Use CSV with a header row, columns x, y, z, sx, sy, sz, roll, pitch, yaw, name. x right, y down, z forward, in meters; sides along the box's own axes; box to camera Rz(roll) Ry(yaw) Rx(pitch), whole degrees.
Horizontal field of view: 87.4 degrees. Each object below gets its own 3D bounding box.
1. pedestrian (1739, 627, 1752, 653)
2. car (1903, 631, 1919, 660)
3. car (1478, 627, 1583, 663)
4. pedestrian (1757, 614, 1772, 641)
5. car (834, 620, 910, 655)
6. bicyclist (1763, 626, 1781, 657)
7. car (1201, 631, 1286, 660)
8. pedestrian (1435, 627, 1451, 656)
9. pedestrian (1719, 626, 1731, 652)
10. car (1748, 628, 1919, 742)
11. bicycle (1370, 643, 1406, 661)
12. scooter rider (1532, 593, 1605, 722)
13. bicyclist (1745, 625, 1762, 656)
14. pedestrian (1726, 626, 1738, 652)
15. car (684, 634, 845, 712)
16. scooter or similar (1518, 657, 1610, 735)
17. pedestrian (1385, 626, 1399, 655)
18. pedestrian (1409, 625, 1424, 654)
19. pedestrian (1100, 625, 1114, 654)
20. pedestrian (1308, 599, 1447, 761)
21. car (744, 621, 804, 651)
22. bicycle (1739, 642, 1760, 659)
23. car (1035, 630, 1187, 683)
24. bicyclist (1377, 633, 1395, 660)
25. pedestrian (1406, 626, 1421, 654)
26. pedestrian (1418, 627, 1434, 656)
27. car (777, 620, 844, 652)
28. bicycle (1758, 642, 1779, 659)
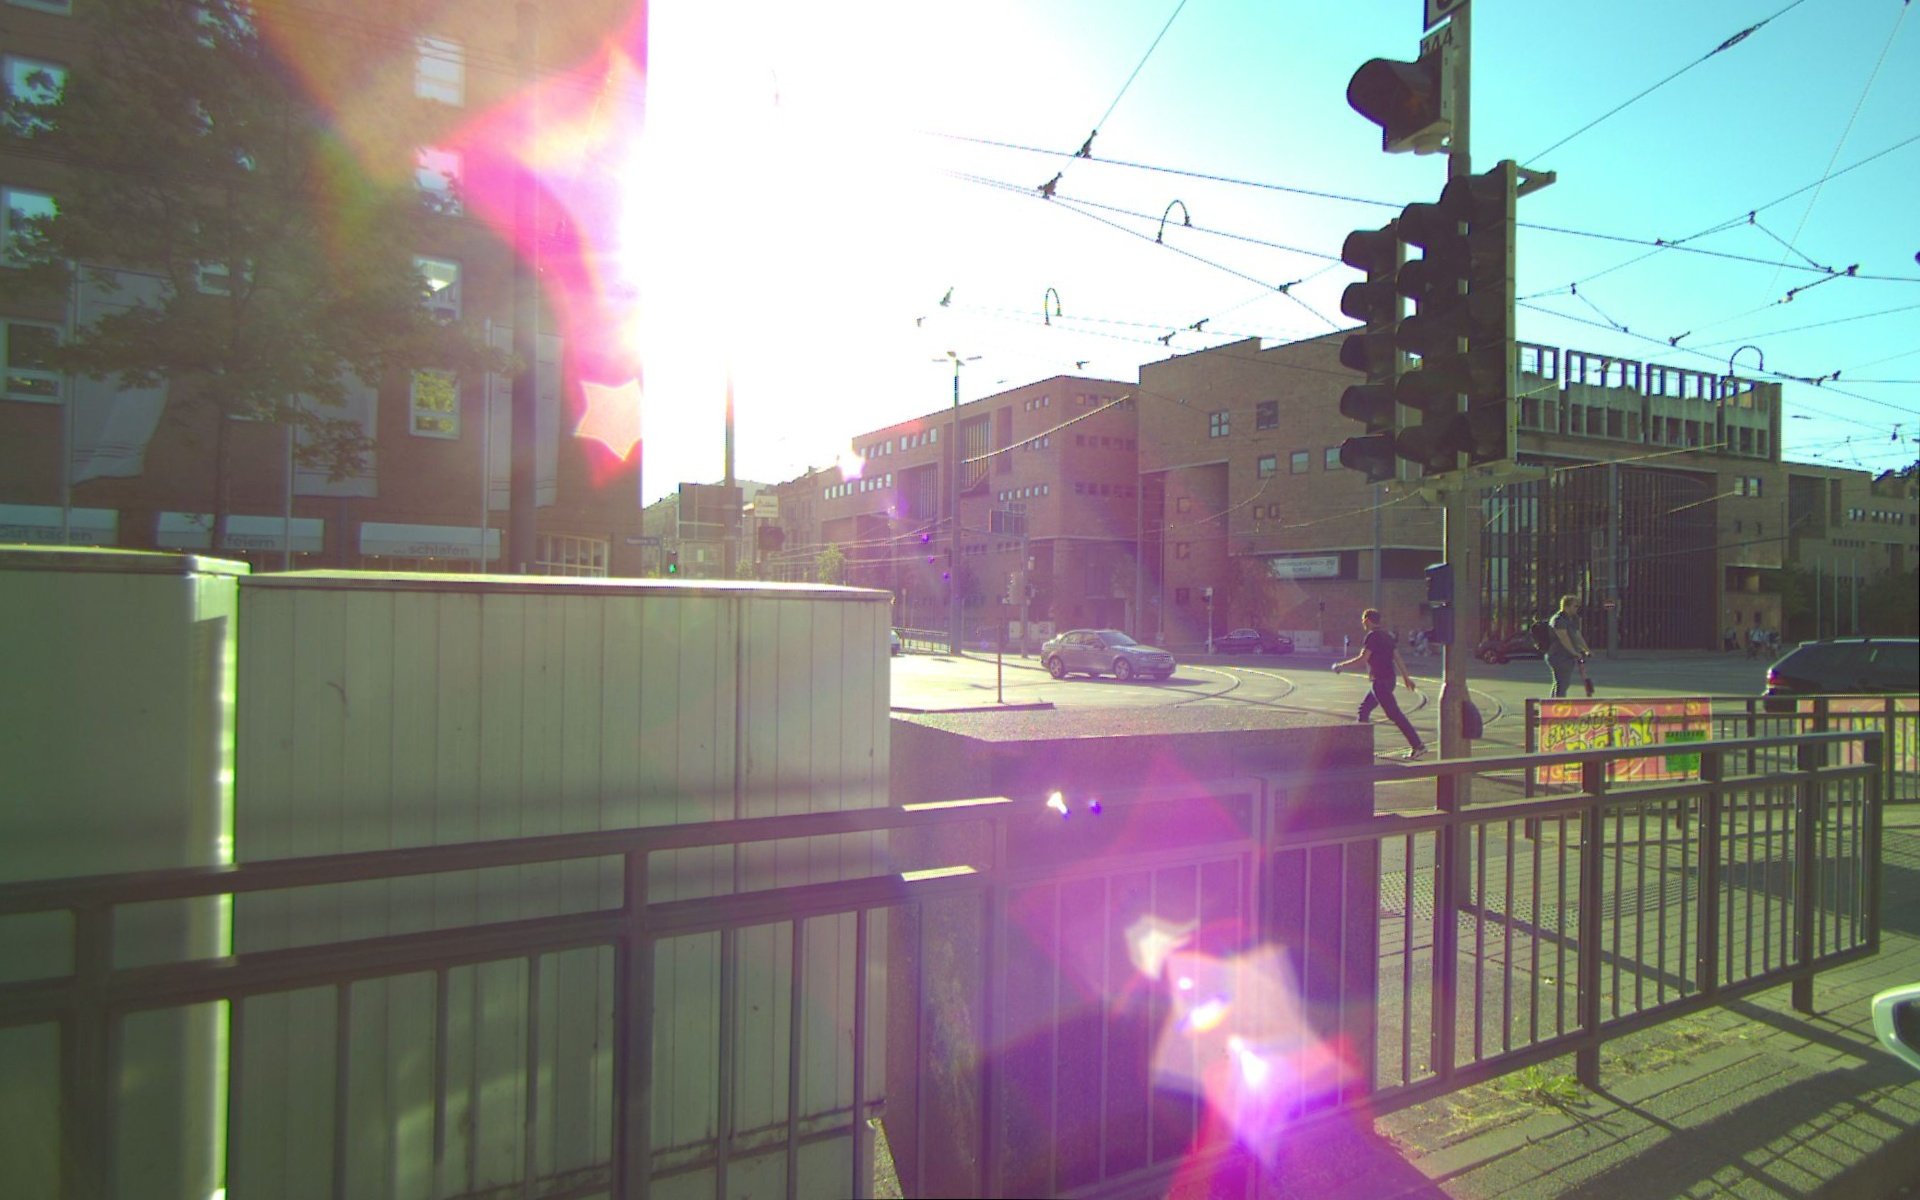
x,y,z,sx,sy,sz,roll,pitch,yaw,name
55.161,2.783,70.565,0.538,1.803,0.521,1,-1,-23,pedestrian
52.755,2.443,54.208,3.961,1.528,1.980,1,-2,-36,car
25.768,2.004,45.405,3.820,1.527,1.785,-1,-2,44,car
55.606,1.883,69.396,0.538,1.834,0.640,1,-1,-23,pedestrian
-4.605,1.909,52.048,1.981,1.719,4.316,1,-2,-36,car
45.100,2.283,55.813,0.782,1.697,0.589,1,-1,-36,bicyclist
15.231,2.411,54.149,1.780,1.453,4.207,2,-2,-39,car
27.837,2.374,57.903,0.533,1.672,0.619,1,-1,-36,pedestrian
53.919,2.769,70.795,0.538,1.834,0.489,1,-1,-23,pedestrian
14.289,1.219,14.407,1.980,1.538,4.355,0,-1,-35,car
22.779,2.764,53.478,1.722,0.911,0.407,-1,-2,42,bicycle
9.351,0.872,15.447,0.727,1.921,0.661,1,-2,-27,scooter rider
44.517,2.266,56.350,0.782,1.697,0.589,1,-1,-36,bicyclist
54.900,2.747,71.412,0.538,1.834,0.489,1,-1,-23,pedestrian
-3.898,1.414,20.525,1.608,1.416,3.304,0,-2,24,car
9.281,1.449,15.467,0.397,1.119,1.202,1,-1,-26,scooter or similar
24.378,2.282,56.639,0.560,1.635,0.545,0,-1,1,pedestrian
26.627,2.304,58.556,0.533,1.672,0.620,1,-1,-34,pedestrian
8.652,2.326,59.019,0.608,1.635,0.540,-1,2,-35,pedestrian
5.078,0.934,12.248,1.032,1.846,1.200,2,-1,-36,pedestrian
-11.446,2.188,61.717,1.981,1.719,4.316,1,-2,-36,car
44.343,2.831,56.425,1.823,0.893,0.509,2,-2,-38,bicycle
4.322,1.599,29.343,1.980,1.398,4.351,1,-2,-35,car
22.696,2.475,53.563,0.810,1.384,0.398,-1,-2,42,bicyclist
26.954,2.369,59.691,0.533,1.672,0.620,1,-1,-34,pedestrian
26.808,2.364,57.776,0.533,1.672,0.620,1,-1,-34,pedestrian
-8.477,2.015,56.694,1.981,1.719,4.316,1,-2,-36,car
44.996,2.802,55.867,1.823,0.893,0.509,2,-2,-38,bicycle
